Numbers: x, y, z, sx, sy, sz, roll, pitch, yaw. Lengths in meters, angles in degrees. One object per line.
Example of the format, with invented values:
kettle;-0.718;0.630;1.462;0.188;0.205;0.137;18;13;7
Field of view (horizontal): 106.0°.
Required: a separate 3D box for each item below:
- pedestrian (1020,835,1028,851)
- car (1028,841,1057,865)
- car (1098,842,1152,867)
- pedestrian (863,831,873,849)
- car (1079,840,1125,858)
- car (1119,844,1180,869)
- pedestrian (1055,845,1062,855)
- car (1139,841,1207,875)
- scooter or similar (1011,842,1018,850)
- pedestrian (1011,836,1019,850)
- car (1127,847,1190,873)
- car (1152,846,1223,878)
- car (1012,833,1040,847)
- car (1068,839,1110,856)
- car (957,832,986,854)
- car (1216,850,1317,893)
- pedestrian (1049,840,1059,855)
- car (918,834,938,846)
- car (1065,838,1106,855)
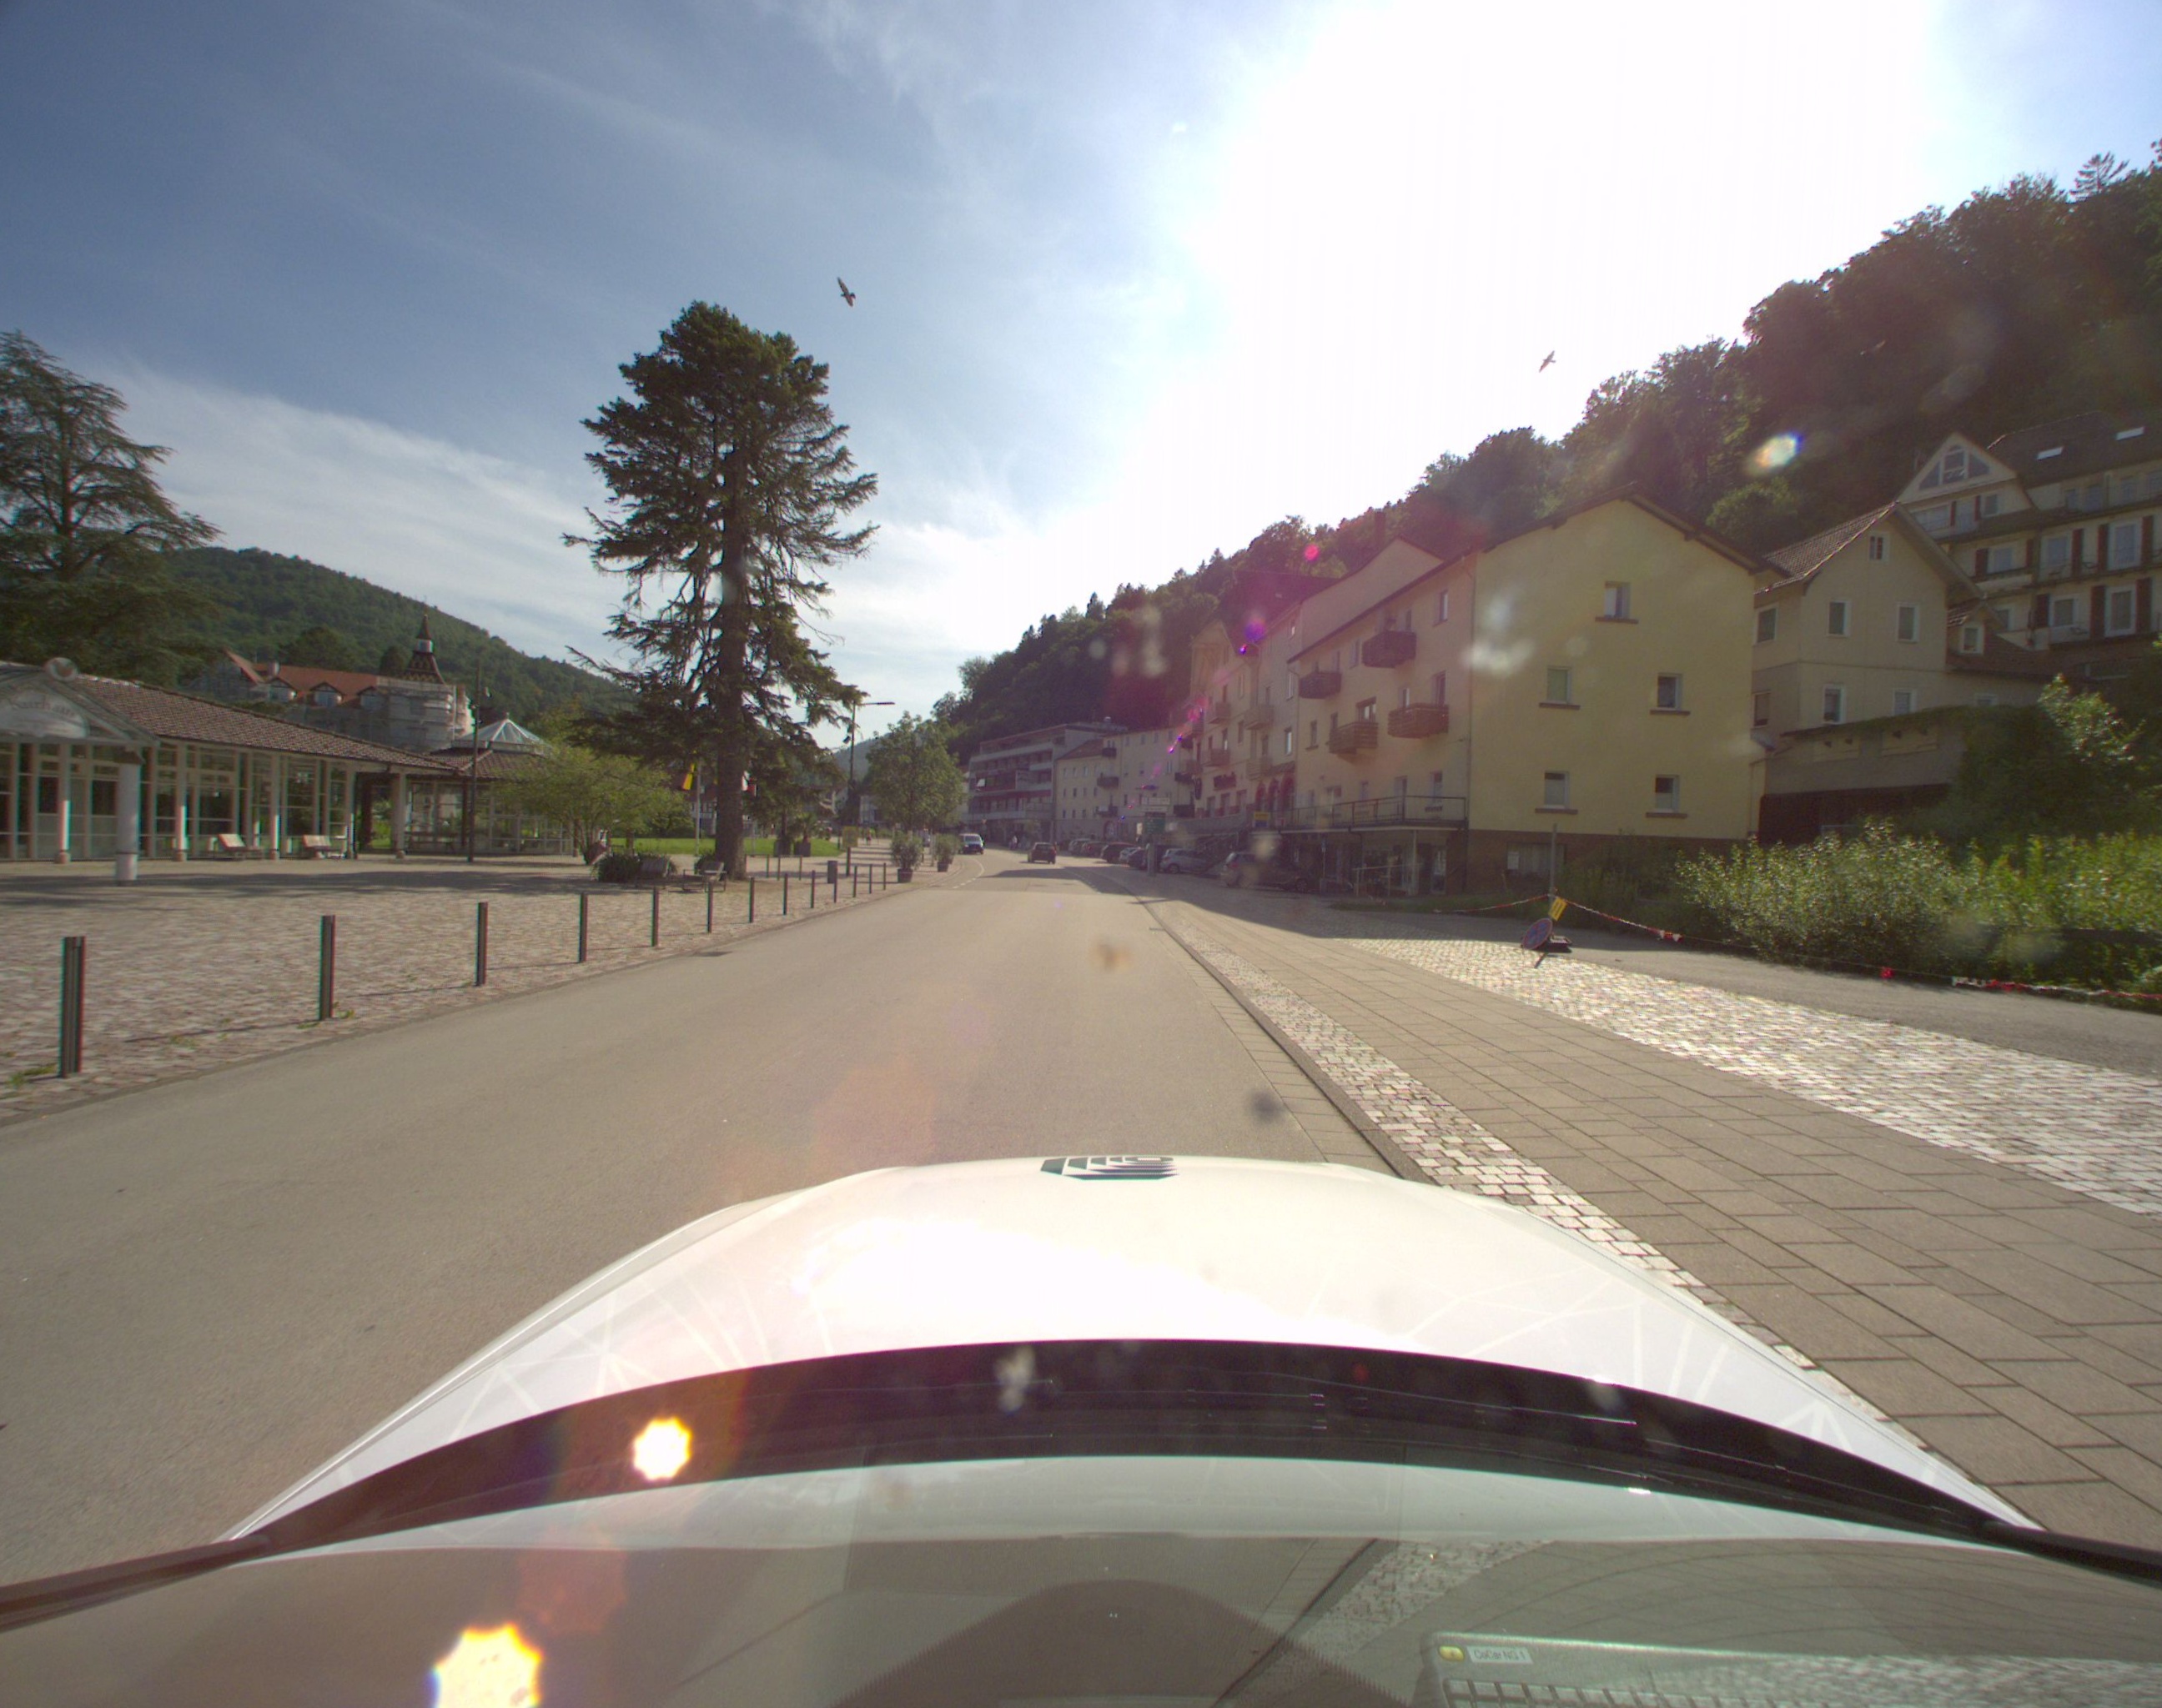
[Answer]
pedestrian;-6.673;-1.277;94.720;0.672;1.728;0.701;2;1;-27
car;-2.917;-0.118;61.156;1.726;1.574;3.743;3;2;-9
car;3.560;0.012;66.131;4.077;1.666;1.770;5;1;-5
pedestrian;-21.943;-1.451;83.827;0.871;1.815;0.685;2;1;-26
car;1.990;-0.501;77.812;4.029;1.516;1.758;-1;3;-25
car;5.135;0.173;61.231;4.346;1.460;1.771;5;0;-3
pedestrian;-2.240;-0.430;81.207;0.420;1.002;0.525;-1;2;-37
car;5.855;0.258;52.065;3.903;1.804;1.854;5;0;-5
scooter or similar;-7.768;-0.931;95.021;0.599;0.950;0.470;2;1;-28
pedestrian;-7.675;-1.265;94.860;0.761;1.593;0.622;2;1;-27
car;5.176;0.398;54.701;3.903;1.460;1.733;4;1;-5
car;6.422;0.449;49.322;3.903;1.589;1.772;4;1;-5
car;-7.061;-1.772;103.749;3.179;1.662;1.581;2;1;-25
car;0.800;-0.655;81.115;3.880;1.549;1.758;-1;3;-25
car;-10.489;-1.041;77.561;1.859;1.953;4.988;3;0;-18
car;8.051;0.762;35.580;3.856;1.554;1.756;4;0;-8
pedestrian;-2.686;-0.625;80.887;0.740;1.442;0.626;-1;1;-35
car;-18.098;-1.654;96.106;1.633;1.370;4.036;0;1;-20
car;0.435;-0.809;84.196;3.880;1.612;1.758;-1;3;-25
